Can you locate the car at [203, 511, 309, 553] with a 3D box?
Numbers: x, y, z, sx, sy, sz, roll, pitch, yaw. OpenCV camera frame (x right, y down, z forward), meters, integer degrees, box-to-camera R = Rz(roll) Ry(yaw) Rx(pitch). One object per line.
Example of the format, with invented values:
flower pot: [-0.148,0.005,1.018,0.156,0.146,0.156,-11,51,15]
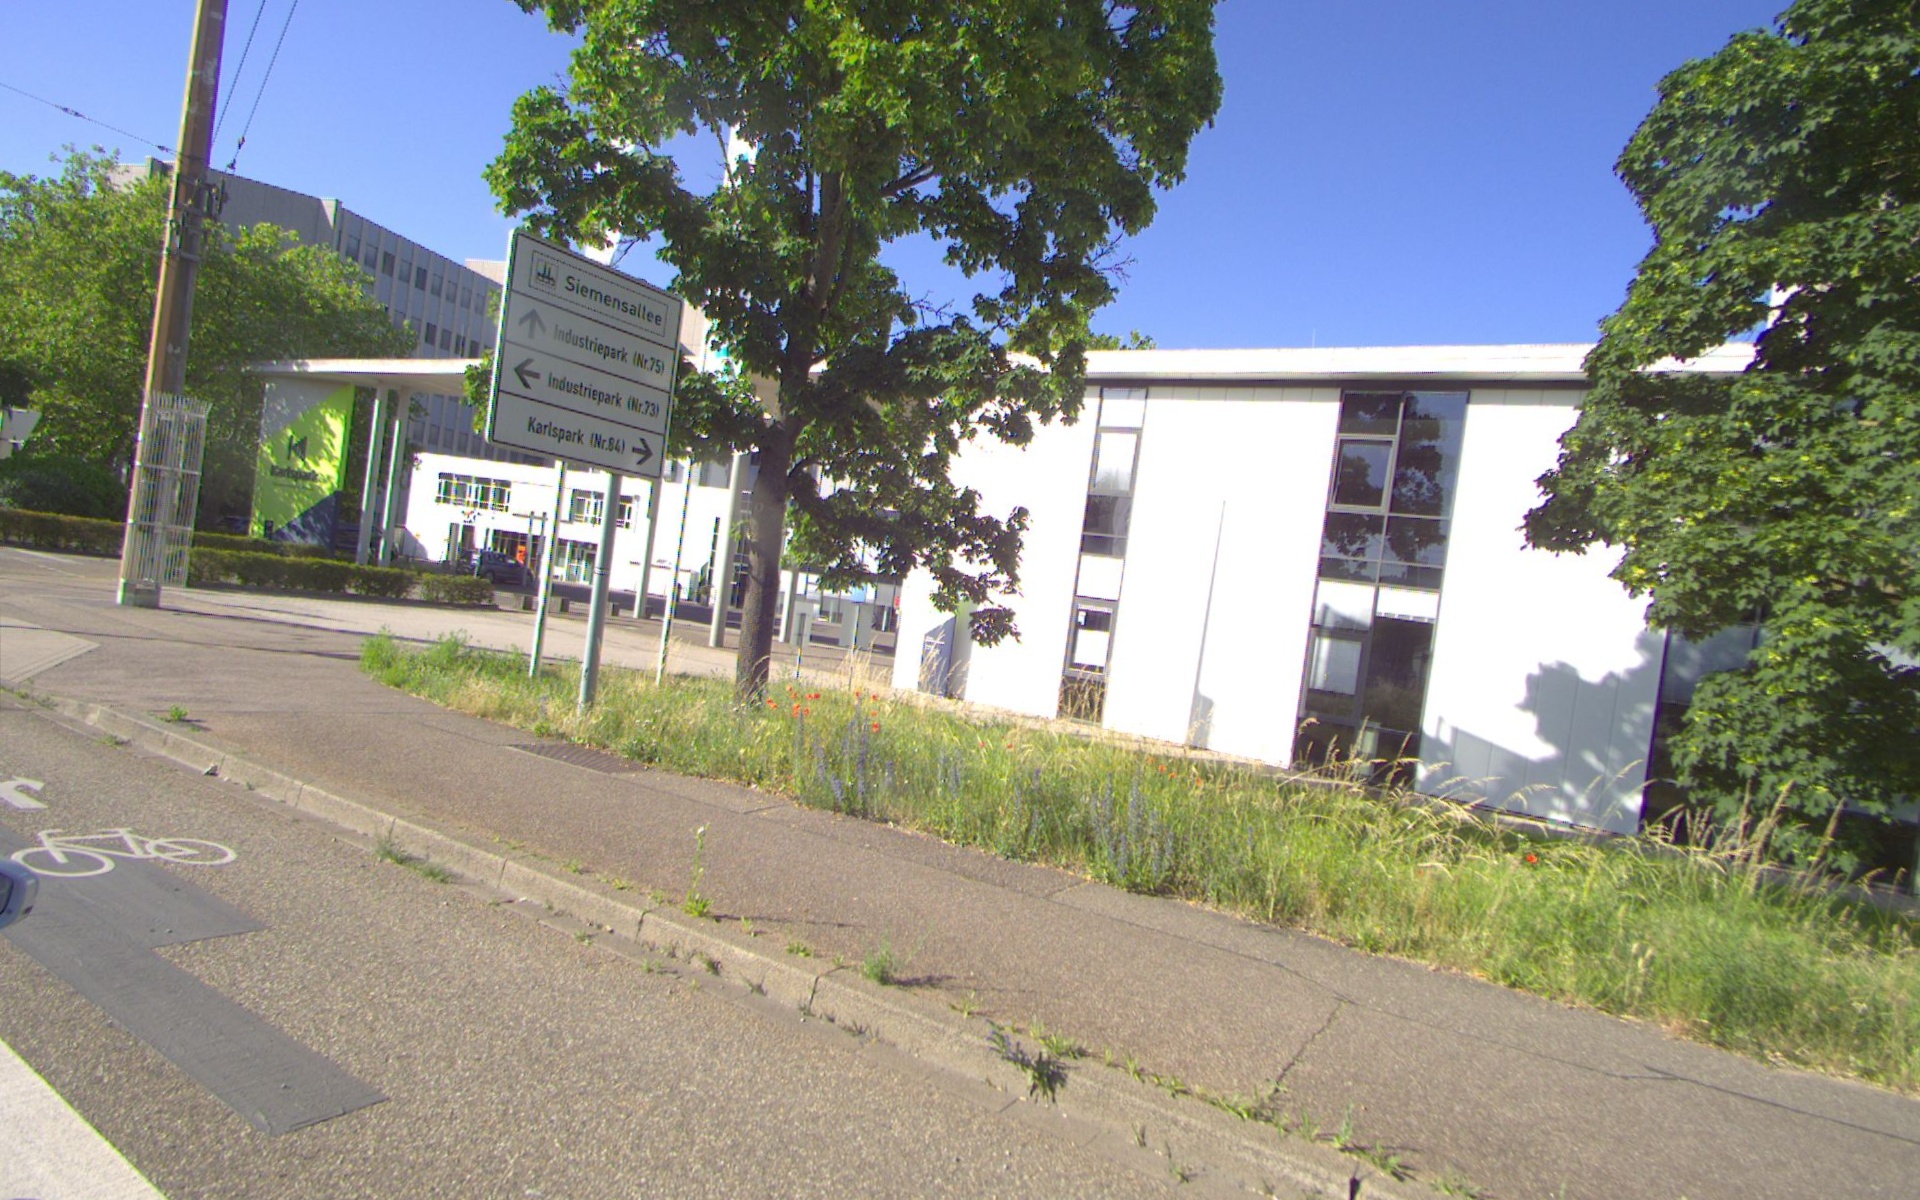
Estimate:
car: [-39.863,-3.826,57.105,1.861,1.706,4.468,7,-1,26]

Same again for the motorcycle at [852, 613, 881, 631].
motorcycle: [-6.151,1.455,66.028,1.701,0.959,0.653,7,0,17]

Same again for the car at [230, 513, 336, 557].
car: [-37.592,-3.591,56.004,1.861,1.706,4.468,7,-1,26]

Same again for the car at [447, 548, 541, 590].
car: [-23.859,-1.547,51.604,1.918,1.597,4.000,7,-1,23]
